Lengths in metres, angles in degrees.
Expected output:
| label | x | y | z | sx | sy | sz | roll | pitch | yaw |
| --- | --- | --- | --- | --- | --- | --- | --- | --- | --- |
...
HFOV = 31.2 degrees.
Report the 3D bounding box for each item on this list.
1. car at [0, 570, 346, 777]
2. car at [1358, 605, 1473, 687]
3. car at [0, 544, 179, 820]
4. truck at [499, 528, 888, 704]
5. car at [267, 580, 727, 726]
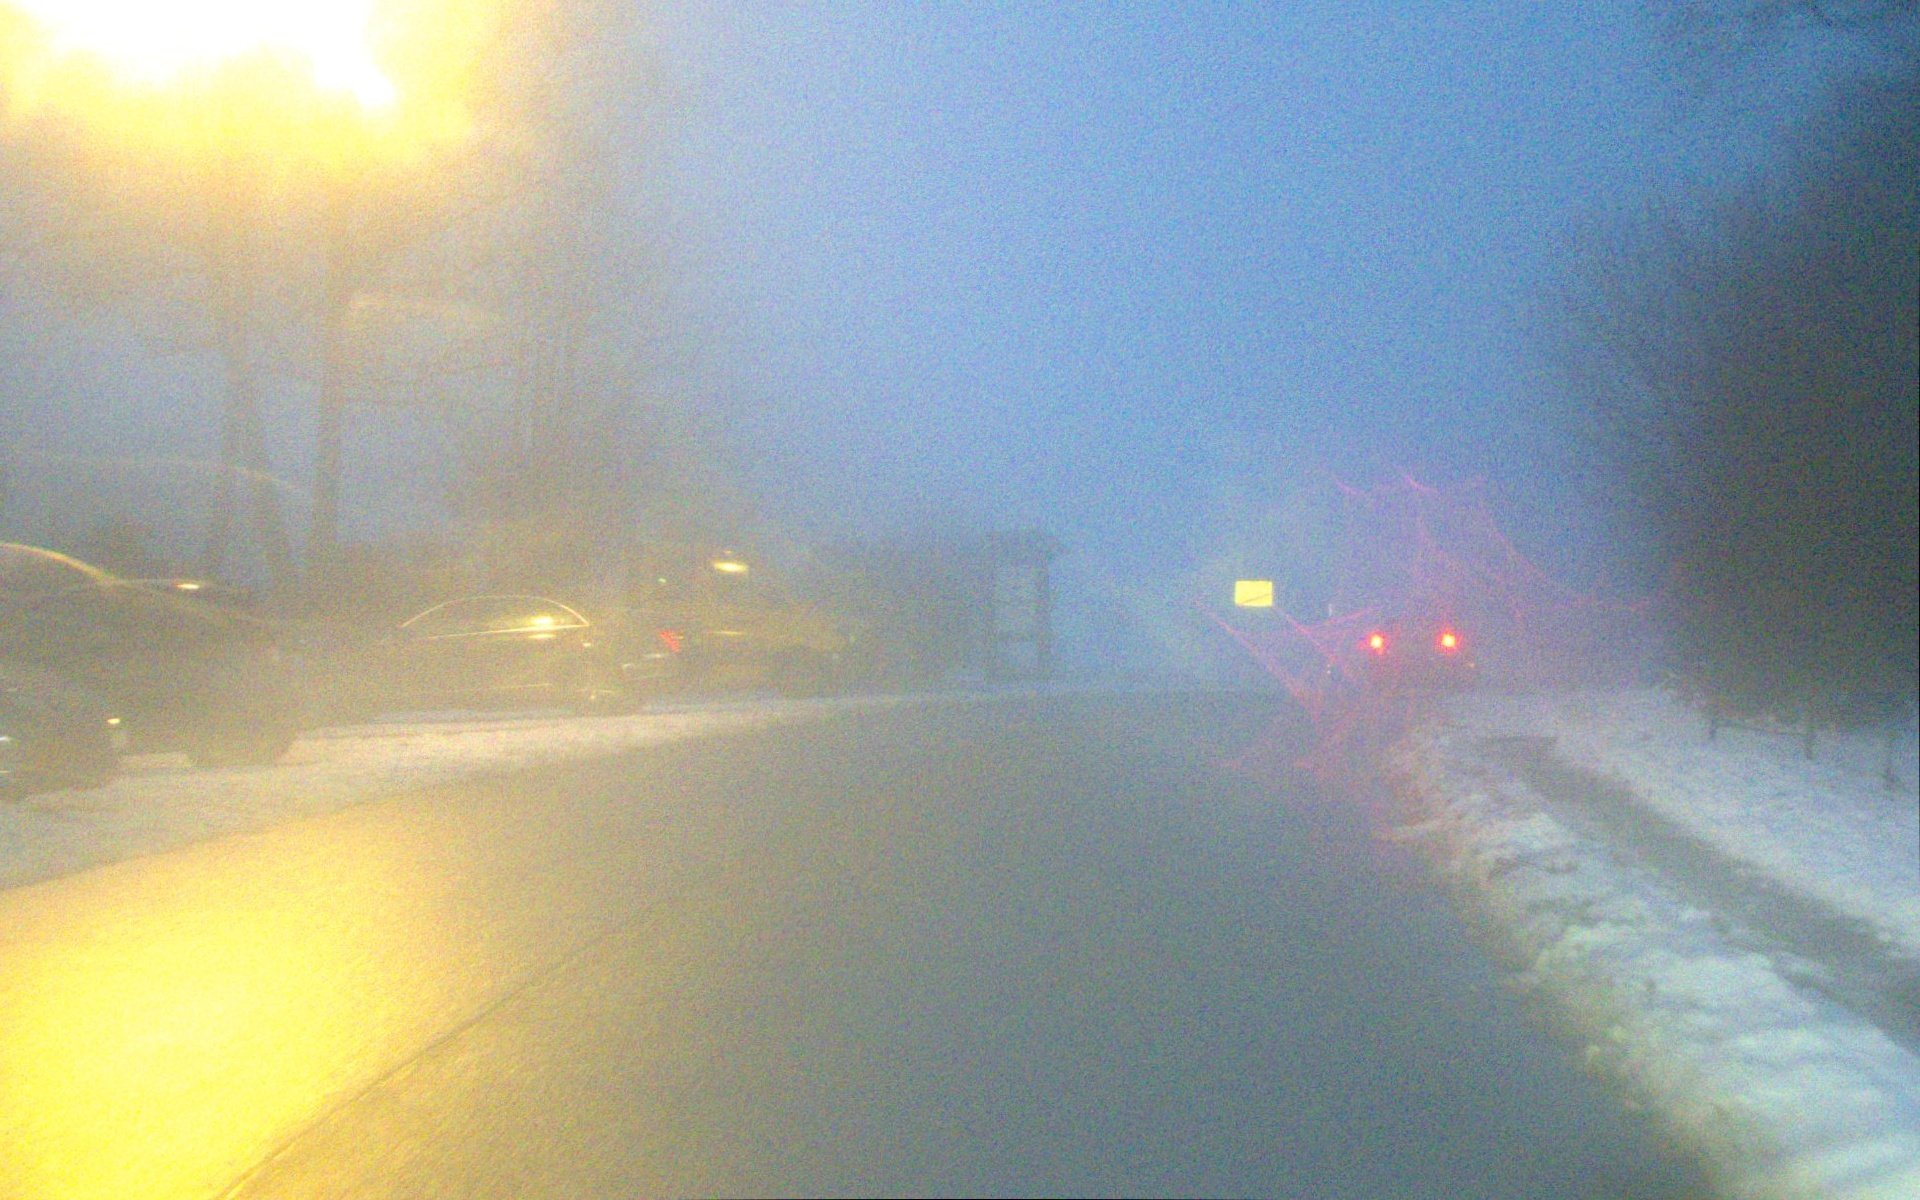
| label | x | y | z | sx | sy | sz | roll | pitch | yaw |
| --- | --- | --- | --- | --- | --- | --- | --- | --- | --- |
| car | -6.837 | 0.568 | 26.397 | 3.854 | 1.466 | 1.939 | -2 | 0 | 0 |
| car | 8.322 | 0.831 | 63.098 | 1.994 | 1.415 | 3.999 | 1 | 0 | 6 |
| car | -7.158 | 0.528 | 20.580 | 4.527 | 1.561 | 2.111 | -2 | 0 | -4 |
| truck | -3.778 | 0.228 | 49.358 | 5.261 | 2.295 | 2.000 | -2 | 0 | 3 |
| car | -5.286 | 0.597 | 39.657 | 4.888 | 1.480 | 2.123 | -2 | 0 | 4 |
